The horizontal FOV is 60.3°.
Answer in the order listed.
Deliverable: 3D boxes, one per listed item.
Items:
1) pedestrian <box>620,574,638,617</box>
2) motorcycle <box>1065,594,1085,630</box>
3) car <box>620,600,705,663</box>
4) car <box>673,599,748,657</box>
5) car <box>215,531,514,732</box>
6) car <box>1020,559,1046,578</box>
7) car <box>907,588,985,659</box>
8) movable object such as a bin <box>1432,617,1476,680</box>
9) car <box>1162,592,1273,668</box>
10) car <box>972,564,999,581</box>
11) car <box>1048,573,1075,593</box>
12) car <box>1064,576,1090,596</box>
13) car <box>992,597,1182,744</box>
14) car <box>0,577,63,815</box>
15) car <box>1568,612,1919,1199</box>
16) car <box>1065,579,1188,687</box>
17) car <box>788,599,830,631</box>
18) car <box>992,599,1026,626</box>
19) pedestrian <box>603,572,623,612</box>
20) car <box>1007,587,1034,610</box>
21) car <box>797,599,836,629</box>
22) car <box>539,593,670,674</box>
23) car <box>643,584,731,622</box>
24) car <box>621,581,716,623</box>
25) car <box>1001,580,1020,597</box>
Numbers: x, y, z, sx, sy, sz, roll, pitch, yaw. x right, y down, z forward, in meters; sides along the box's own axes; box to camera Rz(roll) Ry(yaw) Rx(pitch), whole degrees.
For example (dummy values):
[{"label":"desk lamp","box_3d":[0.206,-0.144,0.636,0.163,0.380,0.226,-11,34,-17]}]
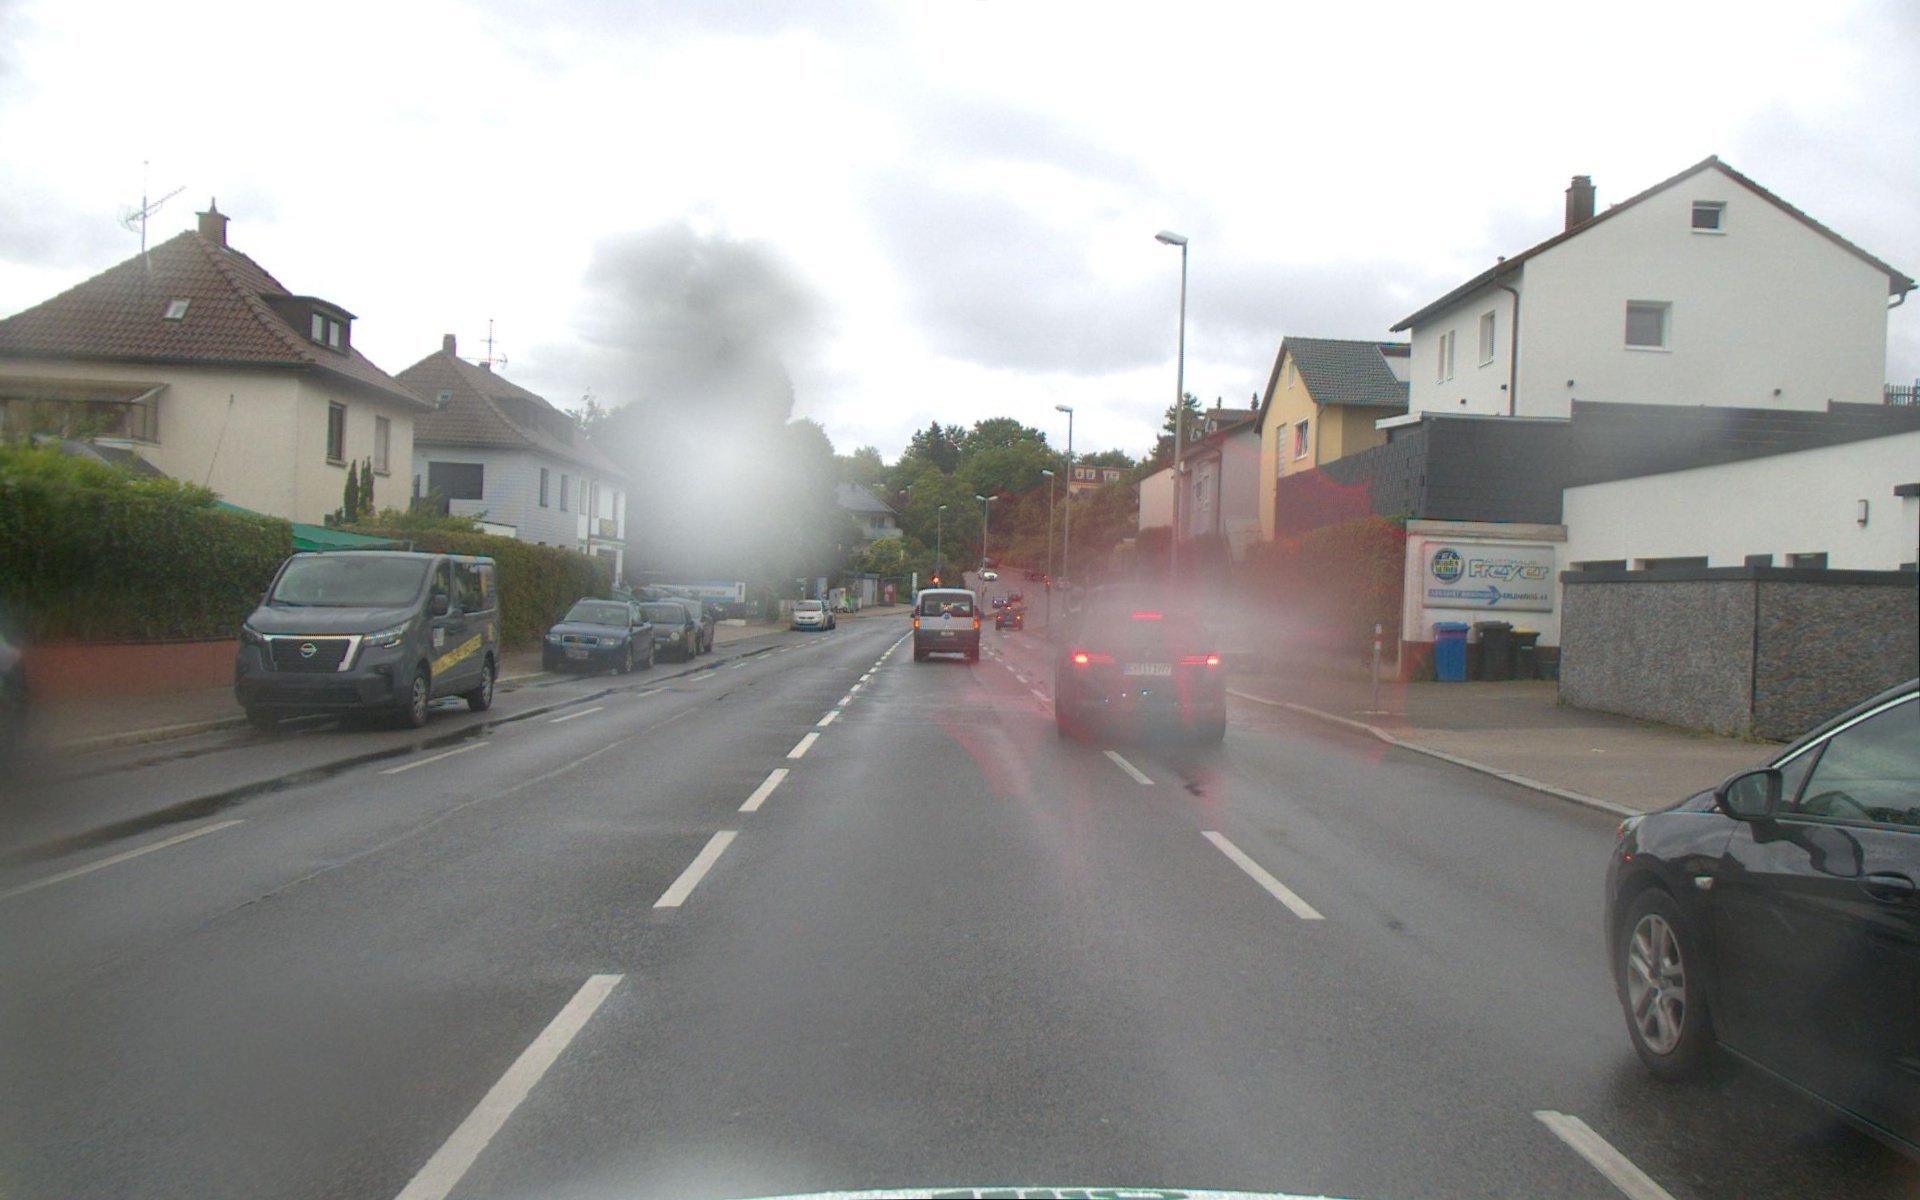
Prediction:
[{"label":"pedestrian","box_3d":[-14.391,-0.215,71.944,0.589,1.822,0.649,4,0,-6]},{"label":"motorcycle","box_3d":[4.972,0.515,71.680,0.689,1.536,2.150,-1,0,0]},{"label":"car","box_3d":[-7.336,0.748,41.072,1.520,1.456,4.012,1,0,-3]},{"label":"car","box_3d":[-7.062,0.764,47.062,1.722,1.559,4.205,1,0,-4]},{"label":"car","box_3d":[-6.823,0.334,19.606,1.874,2.038,5.085,1,0,-3]},{"label":"car","box_3d":[9.920,-4.312,226.074,2.475,2.047,5.601,2,5,-8]},{"label":"car","box_3d":[-0.358,0.610,44.169,1.953,1.768,4.000,1,0,0]},{"label":"movable object such as a bin","box_3d":[9.088,0.889,30.431,0.583,1.124,0.667,-2,0,-1]},{"label":"car","box_3d":[5.602,0.620,36.448,1.666,1.536,4.533,1,0,-1]},{"label":"car","box_3d":[3.416,-3.787,225.969,2.478,2.048,5.593,1,3,-12]},{"label":"car","box_3d":[12.826,-2.171,209.921,2.473,2.047,5.604,2,4,-6]},{"label":"car","box_3d":[13.511,-1.666,191.494,2.471,2.048,5.608,2,3,-1]},{"label":"car","box_3d":[1.381,0.748,19.438,1.952,1.510,4.000,1,0,1]},{"label":"car","box_3d":[-7.010,0.601,9.205,1.715,1.543,4.525,1,0,-3]},{"label":"car","box_3d":[3.150,0.794,4.108,1.721,1.475,3.999,1,0,-1]},{"label":"car","box_3d":[2.974,0.571,30.237,1.801,1.798,4.000,1,0,0]},{"label":"car","box_3d":[-7.954,0.780,87.632,1.846,1.613,3.999,1,0,0]},{"label":"car","box_3d":[3.108,0.784,106.023,1.953,1.606,3.999,0,1,-1]},{"label":"pedestrian","box_3d":[-15.197,-0.361,72.484,0.588,1.694,0.650,4,0,7]},{"label":"car","box_3d":[6.295,-0.141,172.944,2.470,2.048,5.609,2,3,-1]},{"label":"car","box_3d":[-8.141,0.777,94.289,1.846,1.613,3.999,1,0,0]},{"label":"car","box_3d":[-7.409,0.671,34.875,1.721,1.559,4.287,1,0,1]},{"label":"car","box_3d":[-13.723,0.133,83.265,3.991,1.542,1.855,5,0,-1]},{"label":"car","box_3d":[-13.421,0.107,76.310,3.991,1.542,1.855,5,0,-1]},{"label":"car","box_3d":[5.744,-1.302,189.400,1.953,1.802,4.000,-2,1,-1]}]
